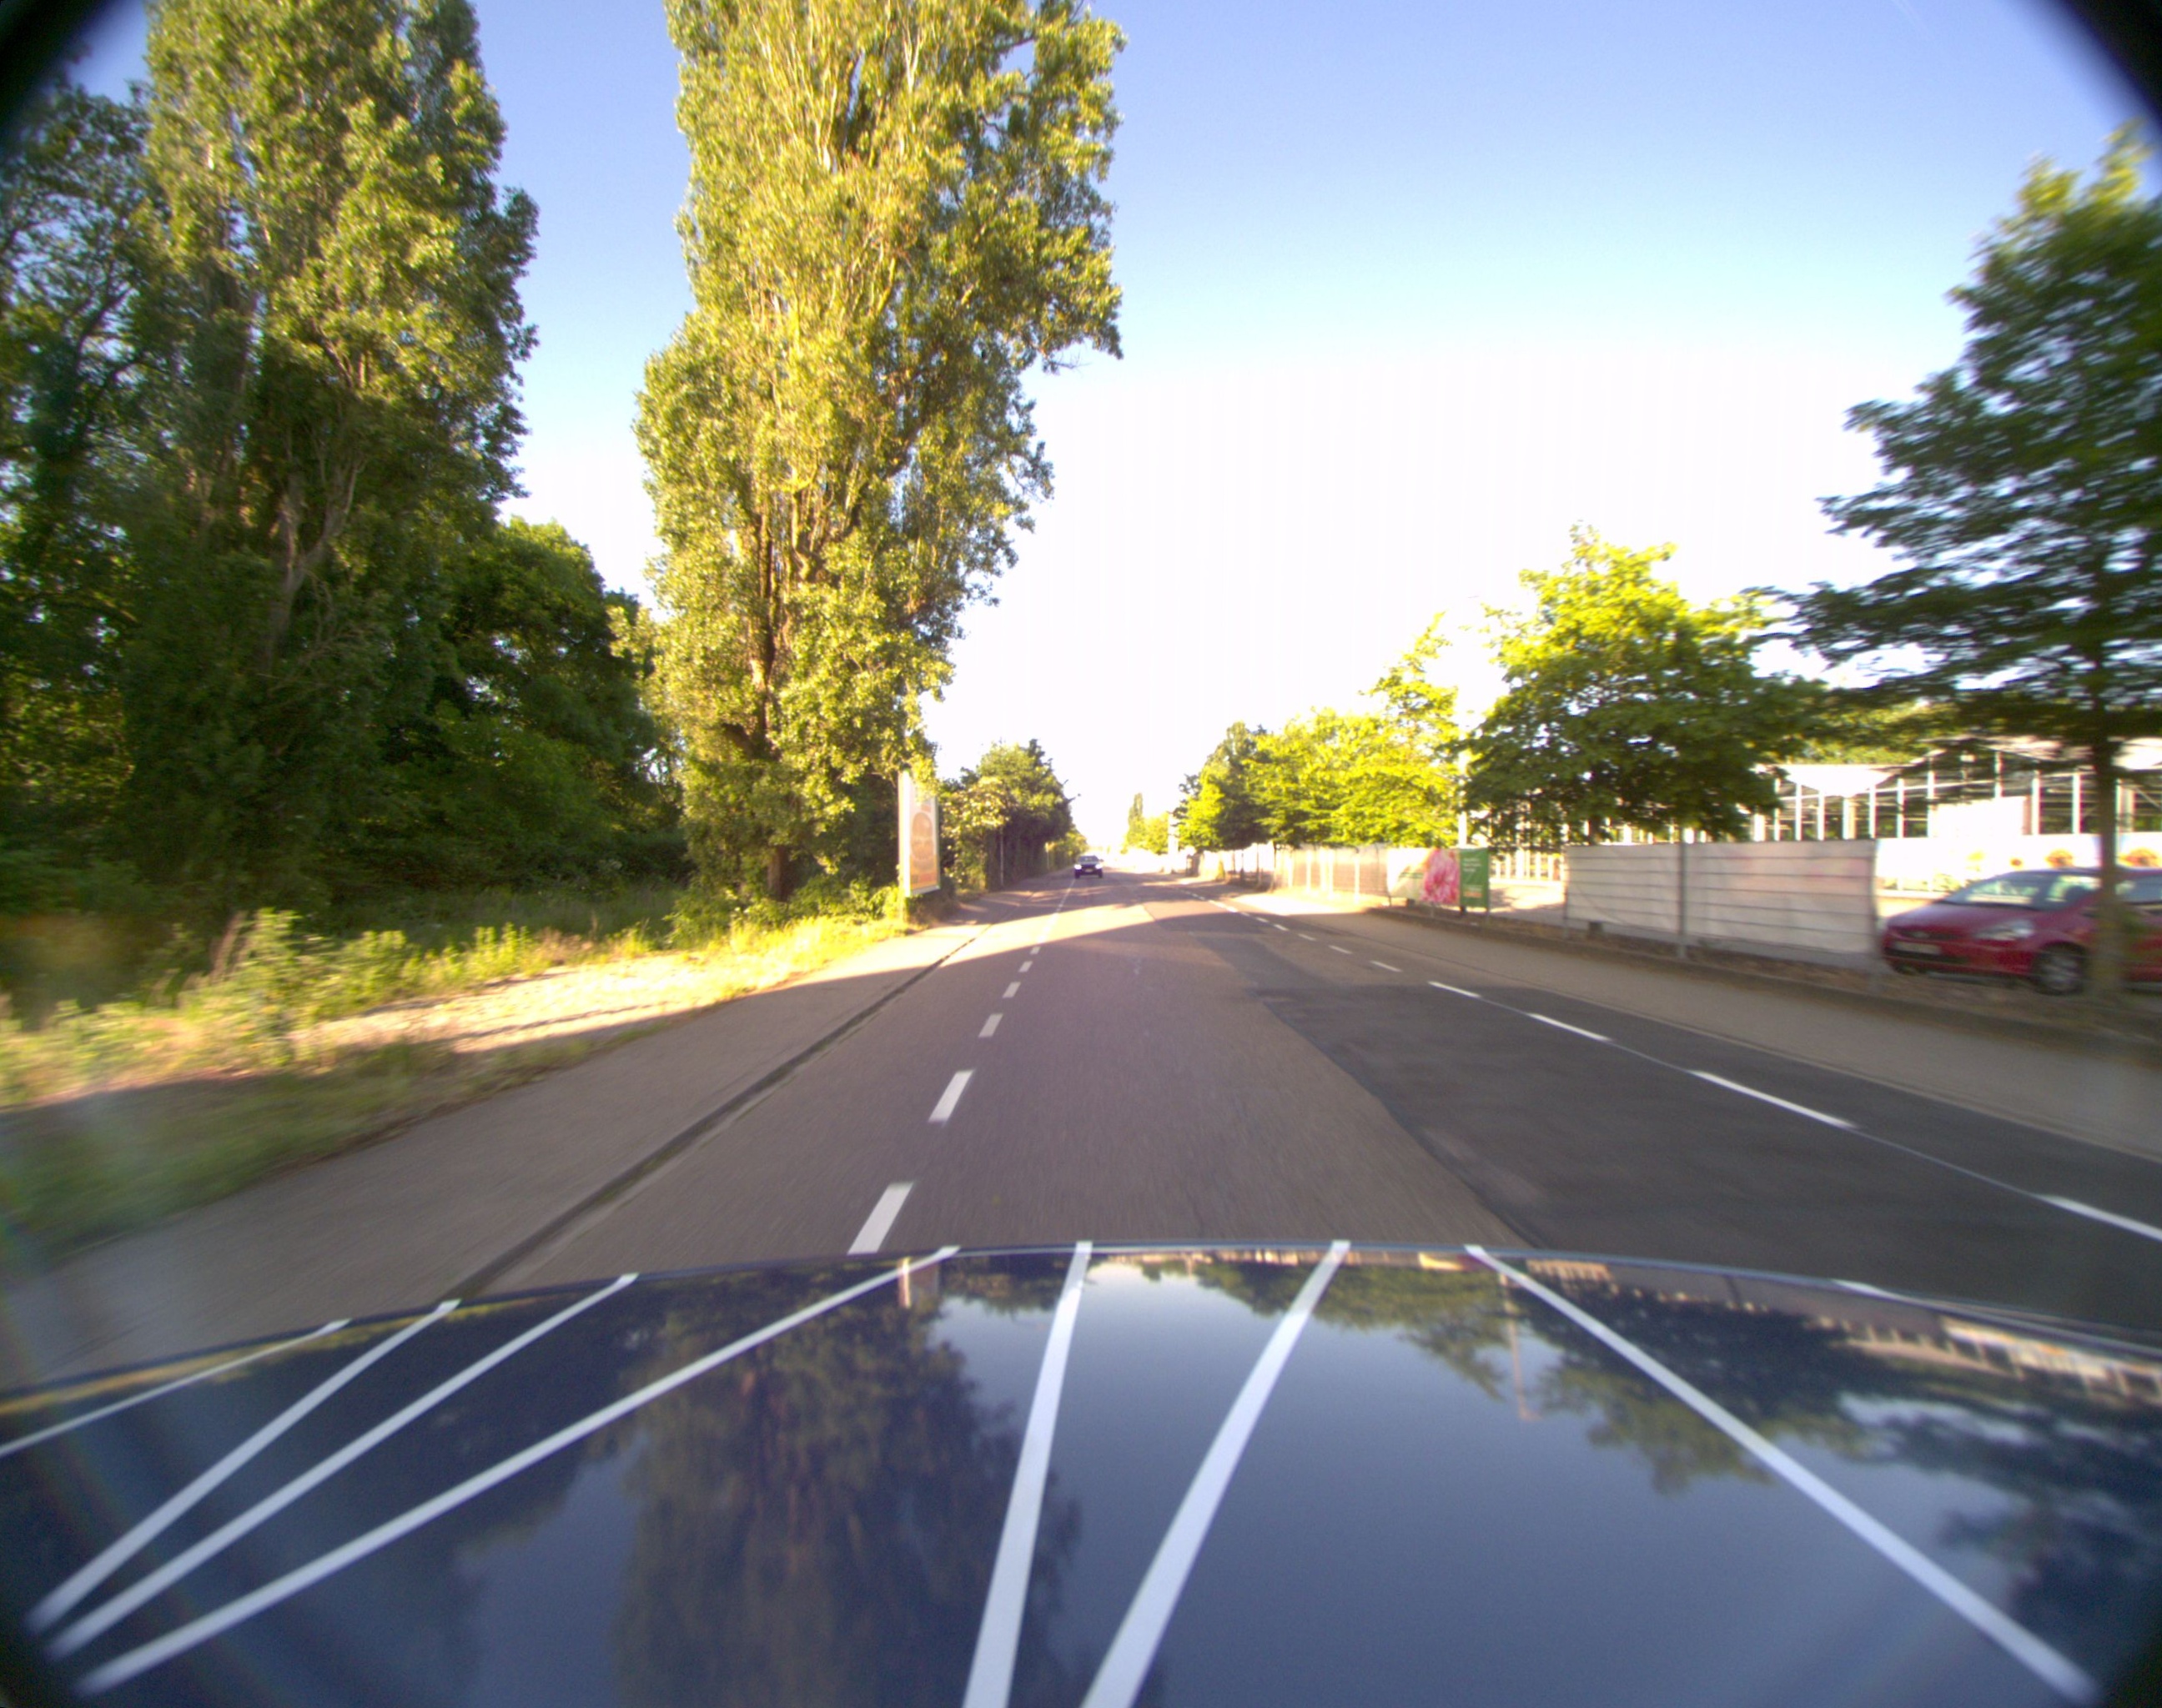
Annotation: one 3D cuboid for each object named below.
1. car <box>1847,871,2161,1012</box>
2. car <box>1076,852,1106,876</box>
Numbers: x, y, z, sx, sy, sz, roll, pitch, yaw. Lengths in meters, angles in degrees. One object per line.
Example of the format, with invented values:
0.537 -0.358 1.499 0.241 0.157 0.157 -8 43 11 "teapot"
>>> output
12.071 1.018 9.212 3.736 1.442 1.805 2 0 -1 "car"
0.705 0.696 54.602 1.998 1.608 4.000 -3 0 0 "car"
